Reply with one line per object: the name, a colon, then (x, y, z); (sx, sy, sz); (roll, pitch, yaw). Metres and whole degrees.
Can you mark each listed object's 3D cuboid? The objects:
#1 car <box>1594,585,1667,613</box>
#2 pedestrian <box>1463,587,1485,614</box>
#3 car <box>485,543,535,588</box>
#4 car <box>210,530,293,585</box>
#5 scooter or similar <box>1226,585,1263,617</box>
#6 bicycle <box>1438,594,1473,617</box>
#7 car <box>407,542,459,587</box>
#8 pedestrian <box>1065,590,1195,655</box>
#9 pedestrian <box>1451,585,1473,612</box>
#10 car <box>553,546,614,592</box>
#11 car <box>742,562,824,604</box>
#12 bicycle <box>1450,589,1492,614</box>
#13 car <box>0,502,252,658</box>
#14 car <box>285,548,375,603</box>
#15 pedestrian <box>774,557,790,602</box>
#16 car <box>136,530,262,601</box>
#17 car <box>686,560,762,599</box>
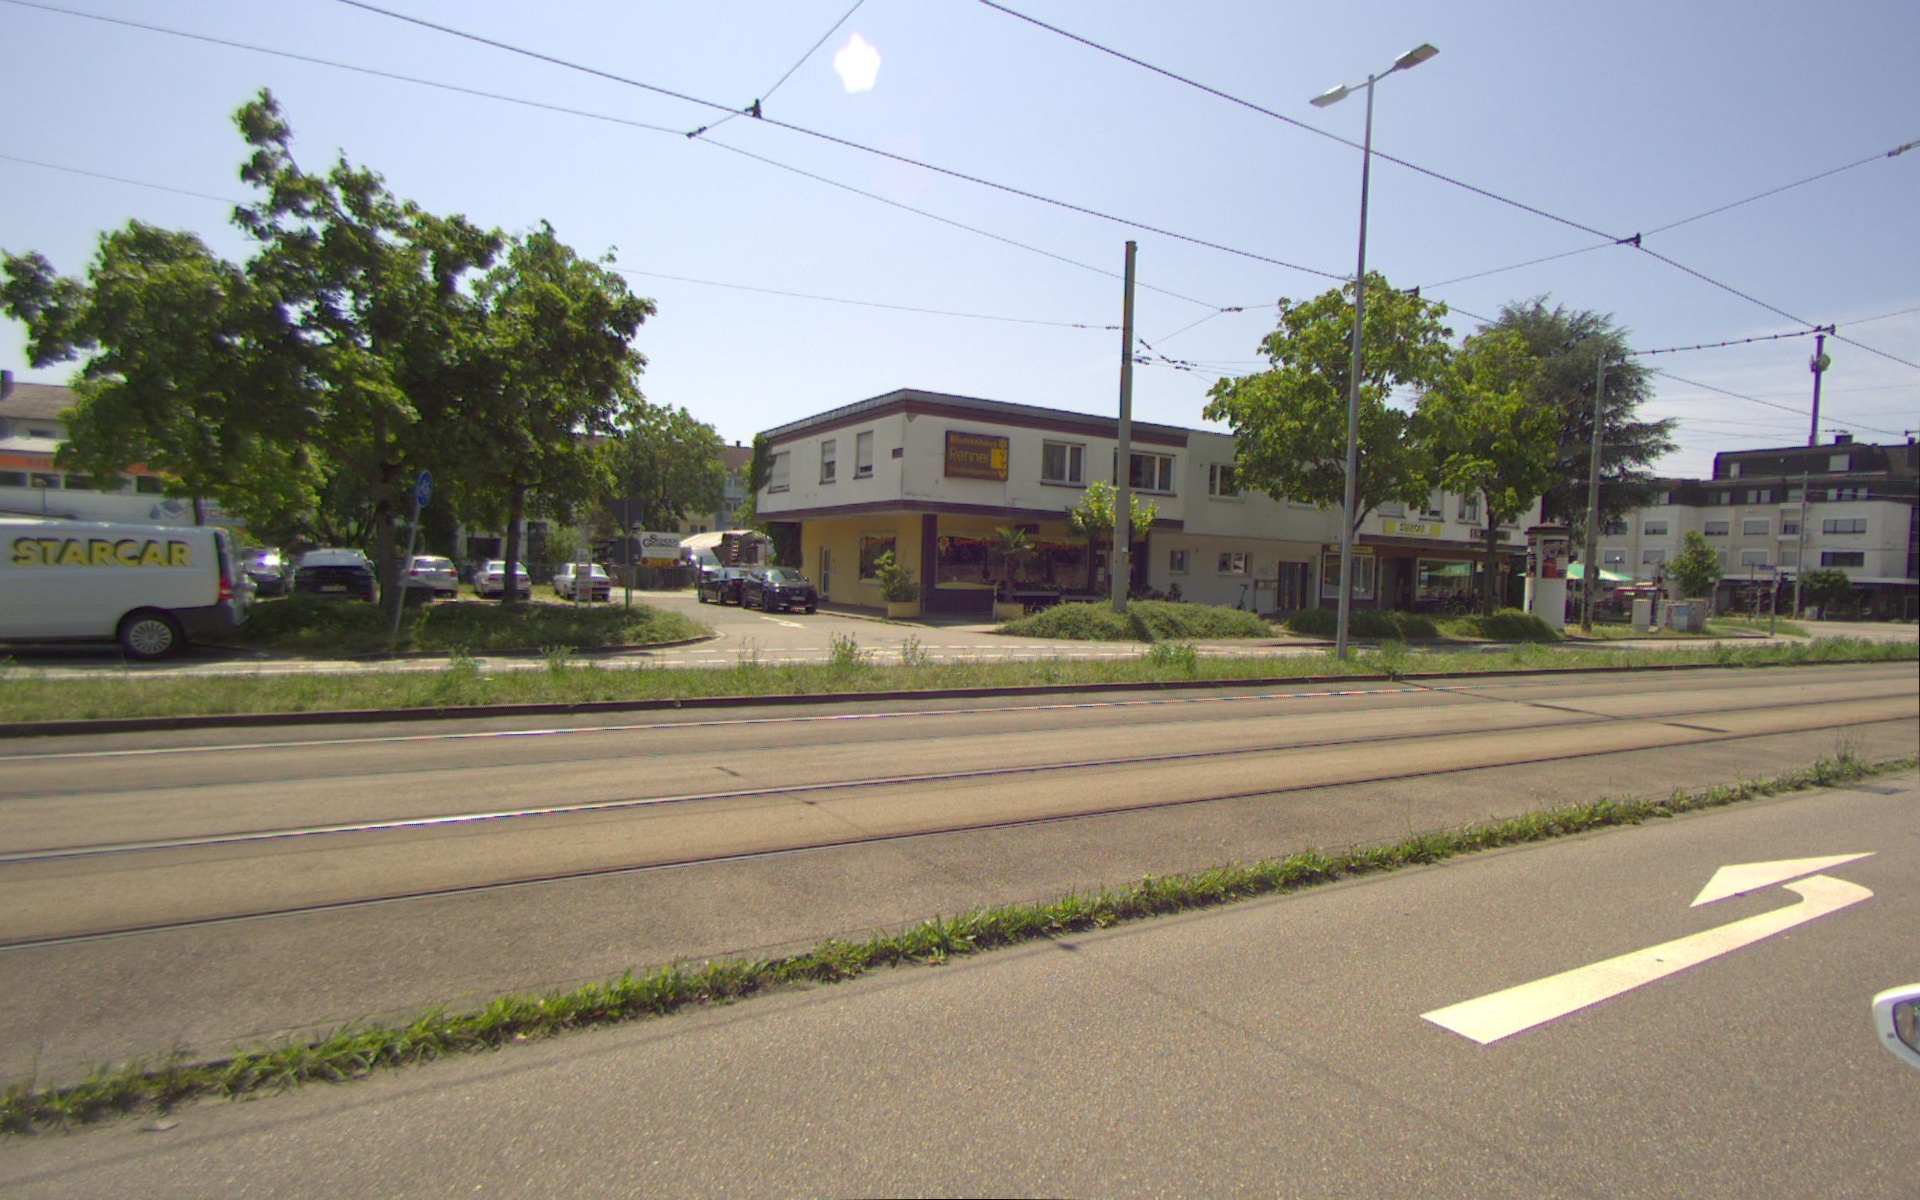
car: (60.803, -0.129, 91.130); (2.220, 2.372, 5.037); (2, 0, -31)
pedestrian: (24.858, 0.027, 48.583); (0.832, 1.285, 0.586); (2, 0, -31)
car: (-17.457, -1.299, 38.870); (1.501, 1.600, 3.971); (2, 0, -28)
car: (-24.285, -1.411, 34.571); (1.781, 1.678, 3.971); (2, 0, -28)
scooter or similar: (11.405, 0.038, 40.240); (1.321, 1.207, 0.455); (2, 0, -11)
bicycle: (22.209, 0.240, 45.008); (1.739, 0.992, 0.536); (2, 0, -31)
car: (-19.926, -1.323, 38.009); (1.640, 1.540, 3.971); (2, 0, -28)
pedestrian: (5.726, 0.772, 33.761); (3.955, 2.040, 1.983); (2, 0, -31)
pedestrian: (24.606, -0.081, 49.211); (0.832, 1.285, 0.586); (2, 0, -31)
car: (-15.025, -1.217, 39.965); (1.781, 1.678, 3.971); (2, 0, -28)
car: (-6.228, -0.615, 34.972); (1.661, 1.314, 3.970); (0, 2, -28)
bicycle: (22.112, 0.056, 43.448); (2.006, 0.992, 0.607); (2, 0, -31)
car: (-13.358, -0.323, 14.205); (5.281, 2.038, 1.866); (2, 5, -30)
car: (-15.715, -0.625, 24.997); (1.628, 1.248, 3.388); (1, 2, -37)
pedestrian: (-7.366, -0.833, 41.572); (0.466, 1.823, 0.484); (2, 0, -31)
car: (-18.171, -0.837, 24.175); (1.962, 1.509, 4.139); (1, 2, -31)
car: (-9.558, -0.798, 40.432); (1.975, 1.440, 4.114); (1, 0, -28)
